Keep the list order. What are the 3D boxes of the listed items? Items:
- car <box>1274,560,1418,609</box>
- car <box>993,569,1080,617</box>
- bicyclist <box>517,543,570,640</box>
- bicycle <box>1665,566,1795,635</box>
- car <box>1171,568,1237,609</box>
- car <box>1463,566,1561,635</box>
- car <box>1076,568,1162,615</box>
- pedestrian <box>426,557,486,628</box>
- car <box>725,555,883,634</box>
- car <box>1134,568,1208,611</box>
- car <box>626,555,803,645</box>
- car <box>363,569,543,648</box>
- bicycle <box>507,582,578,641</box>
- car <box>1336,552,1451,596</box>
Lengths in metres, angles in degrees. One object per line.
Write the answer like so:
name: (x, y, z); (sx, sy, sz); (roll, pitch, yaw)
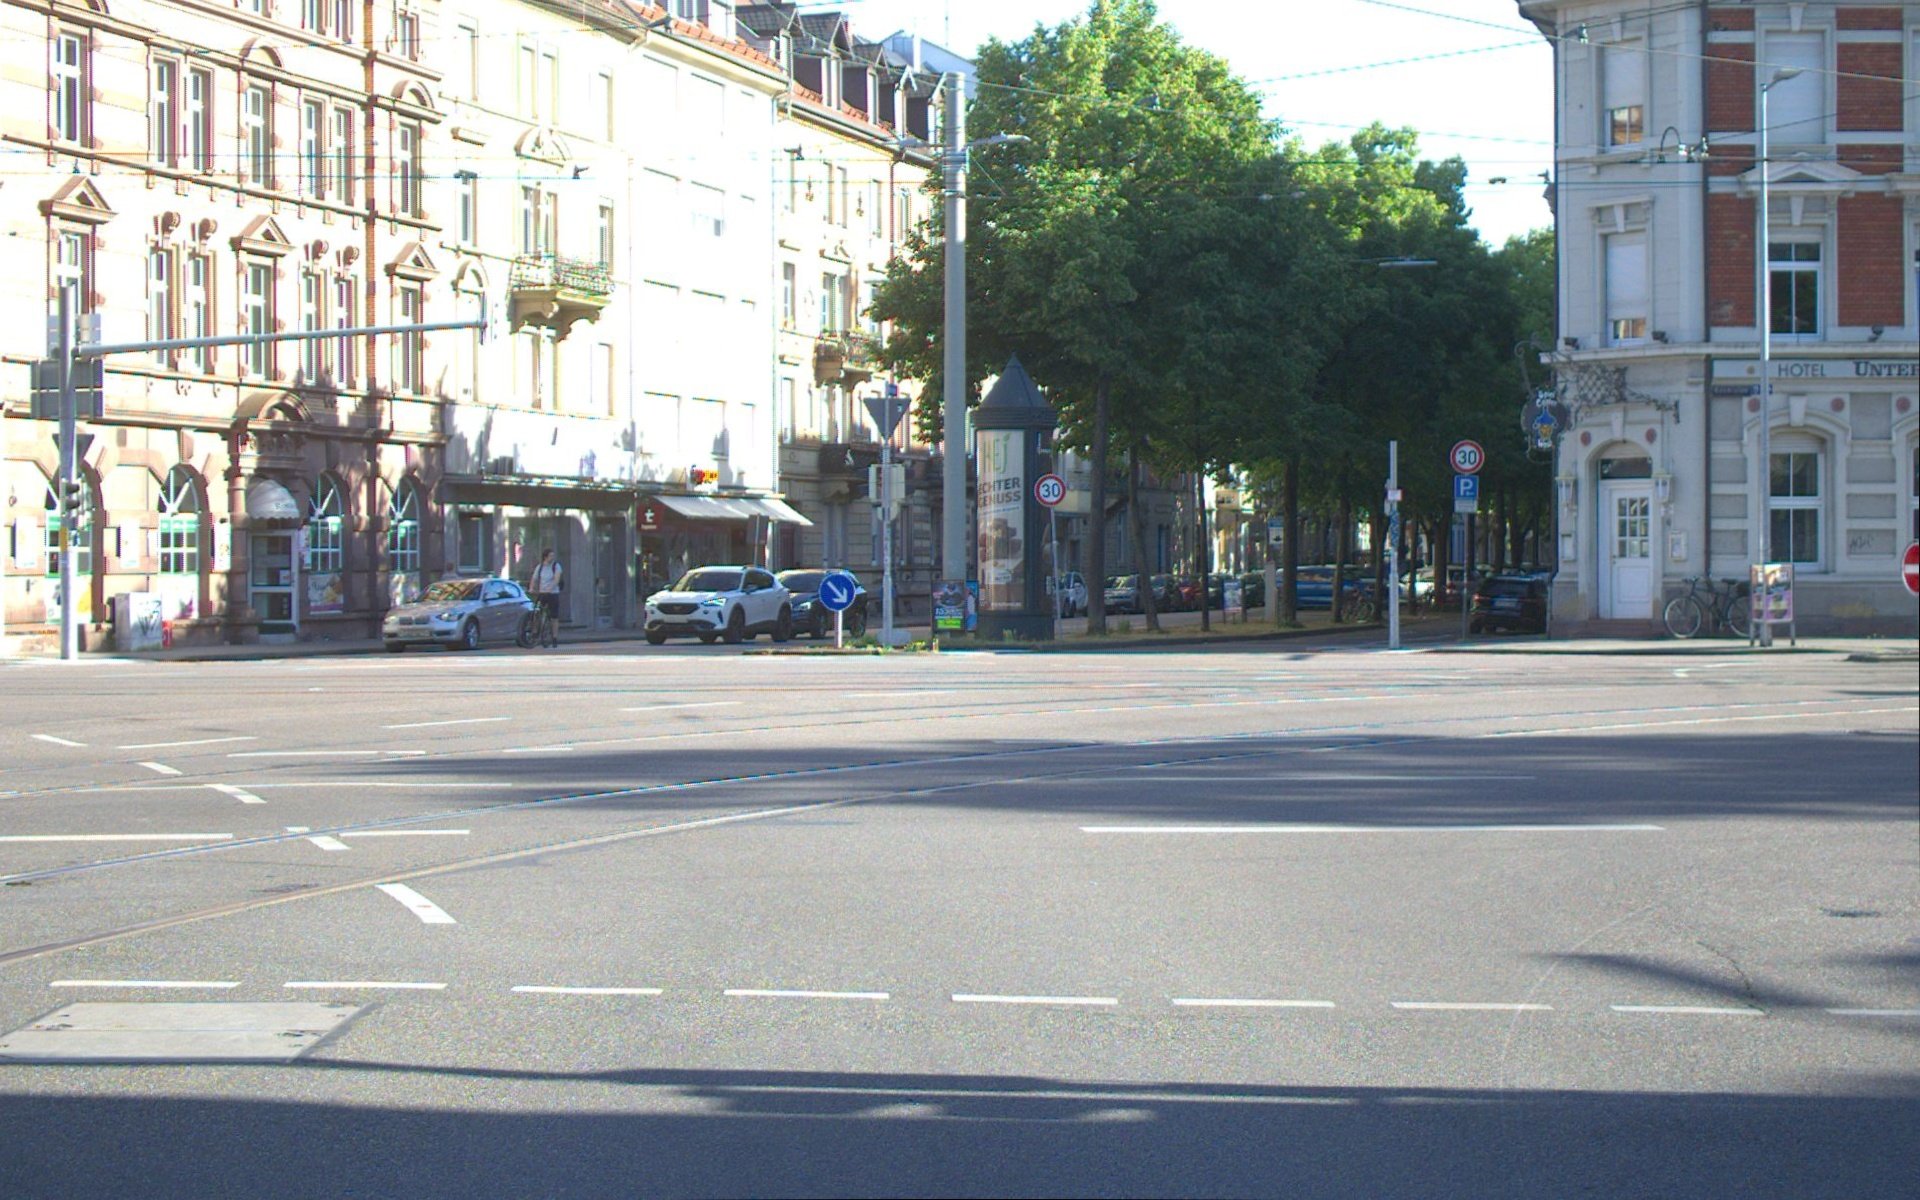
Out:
car: (12.954, -0.531, 115.350); (4.382, 1.606, 1.997); (0, 1, 27)
car: (2.485, -0.227, 110.980); (1.995, 1.481, 3.998); (0, 1, 14)
bicyclist: (-7.876, -0.166, 65.064); (0.679, 1.814, 1.070); (0, 1, 12)
bicycle: (12.860, 0.005, 57.408); (2.085, 1.120, 0.367); (1, 0, -4)
car: (9.696, -0.472, 136.350); (1.766, 1.544, 4.387); (0, 1, 16)
car: (13.270, -0.016, 82.460); (1.995, 1.579, 3.998); (0, 1, 14)
car: (5.704, -0.303, 122.682); (1.995, 1.607, 4.387); (0, 1, 17)
pedestrian: (-10.899, -0.161, 74.399); (0.929, 1.530, 1.136); (0, 1, 14)
car: (-3.316, -0.139, 73.855); (1.995, 1.606, 4.387); (0, 1, 17)
car: (8.030, -0.423, 130.472); (1.839, 1.547, 4.387); (0, 1, 17)
car: (-4.761, -0.021, 67.342); (1.995, 1.678, 4.387); (0, 1, 17)
car: (-9.850, 0.145, 67.067); (1.900, 1.450, 3.997); (0, 1, 17)
bicycle: (-7.886, 0.213, 65.028); (0.680, 1.062, 2.124); (0, 1, 12)
car: (16.858, -1.019, 133.643); (3.993, 1.700, 1.997); (0, 1, 30)
